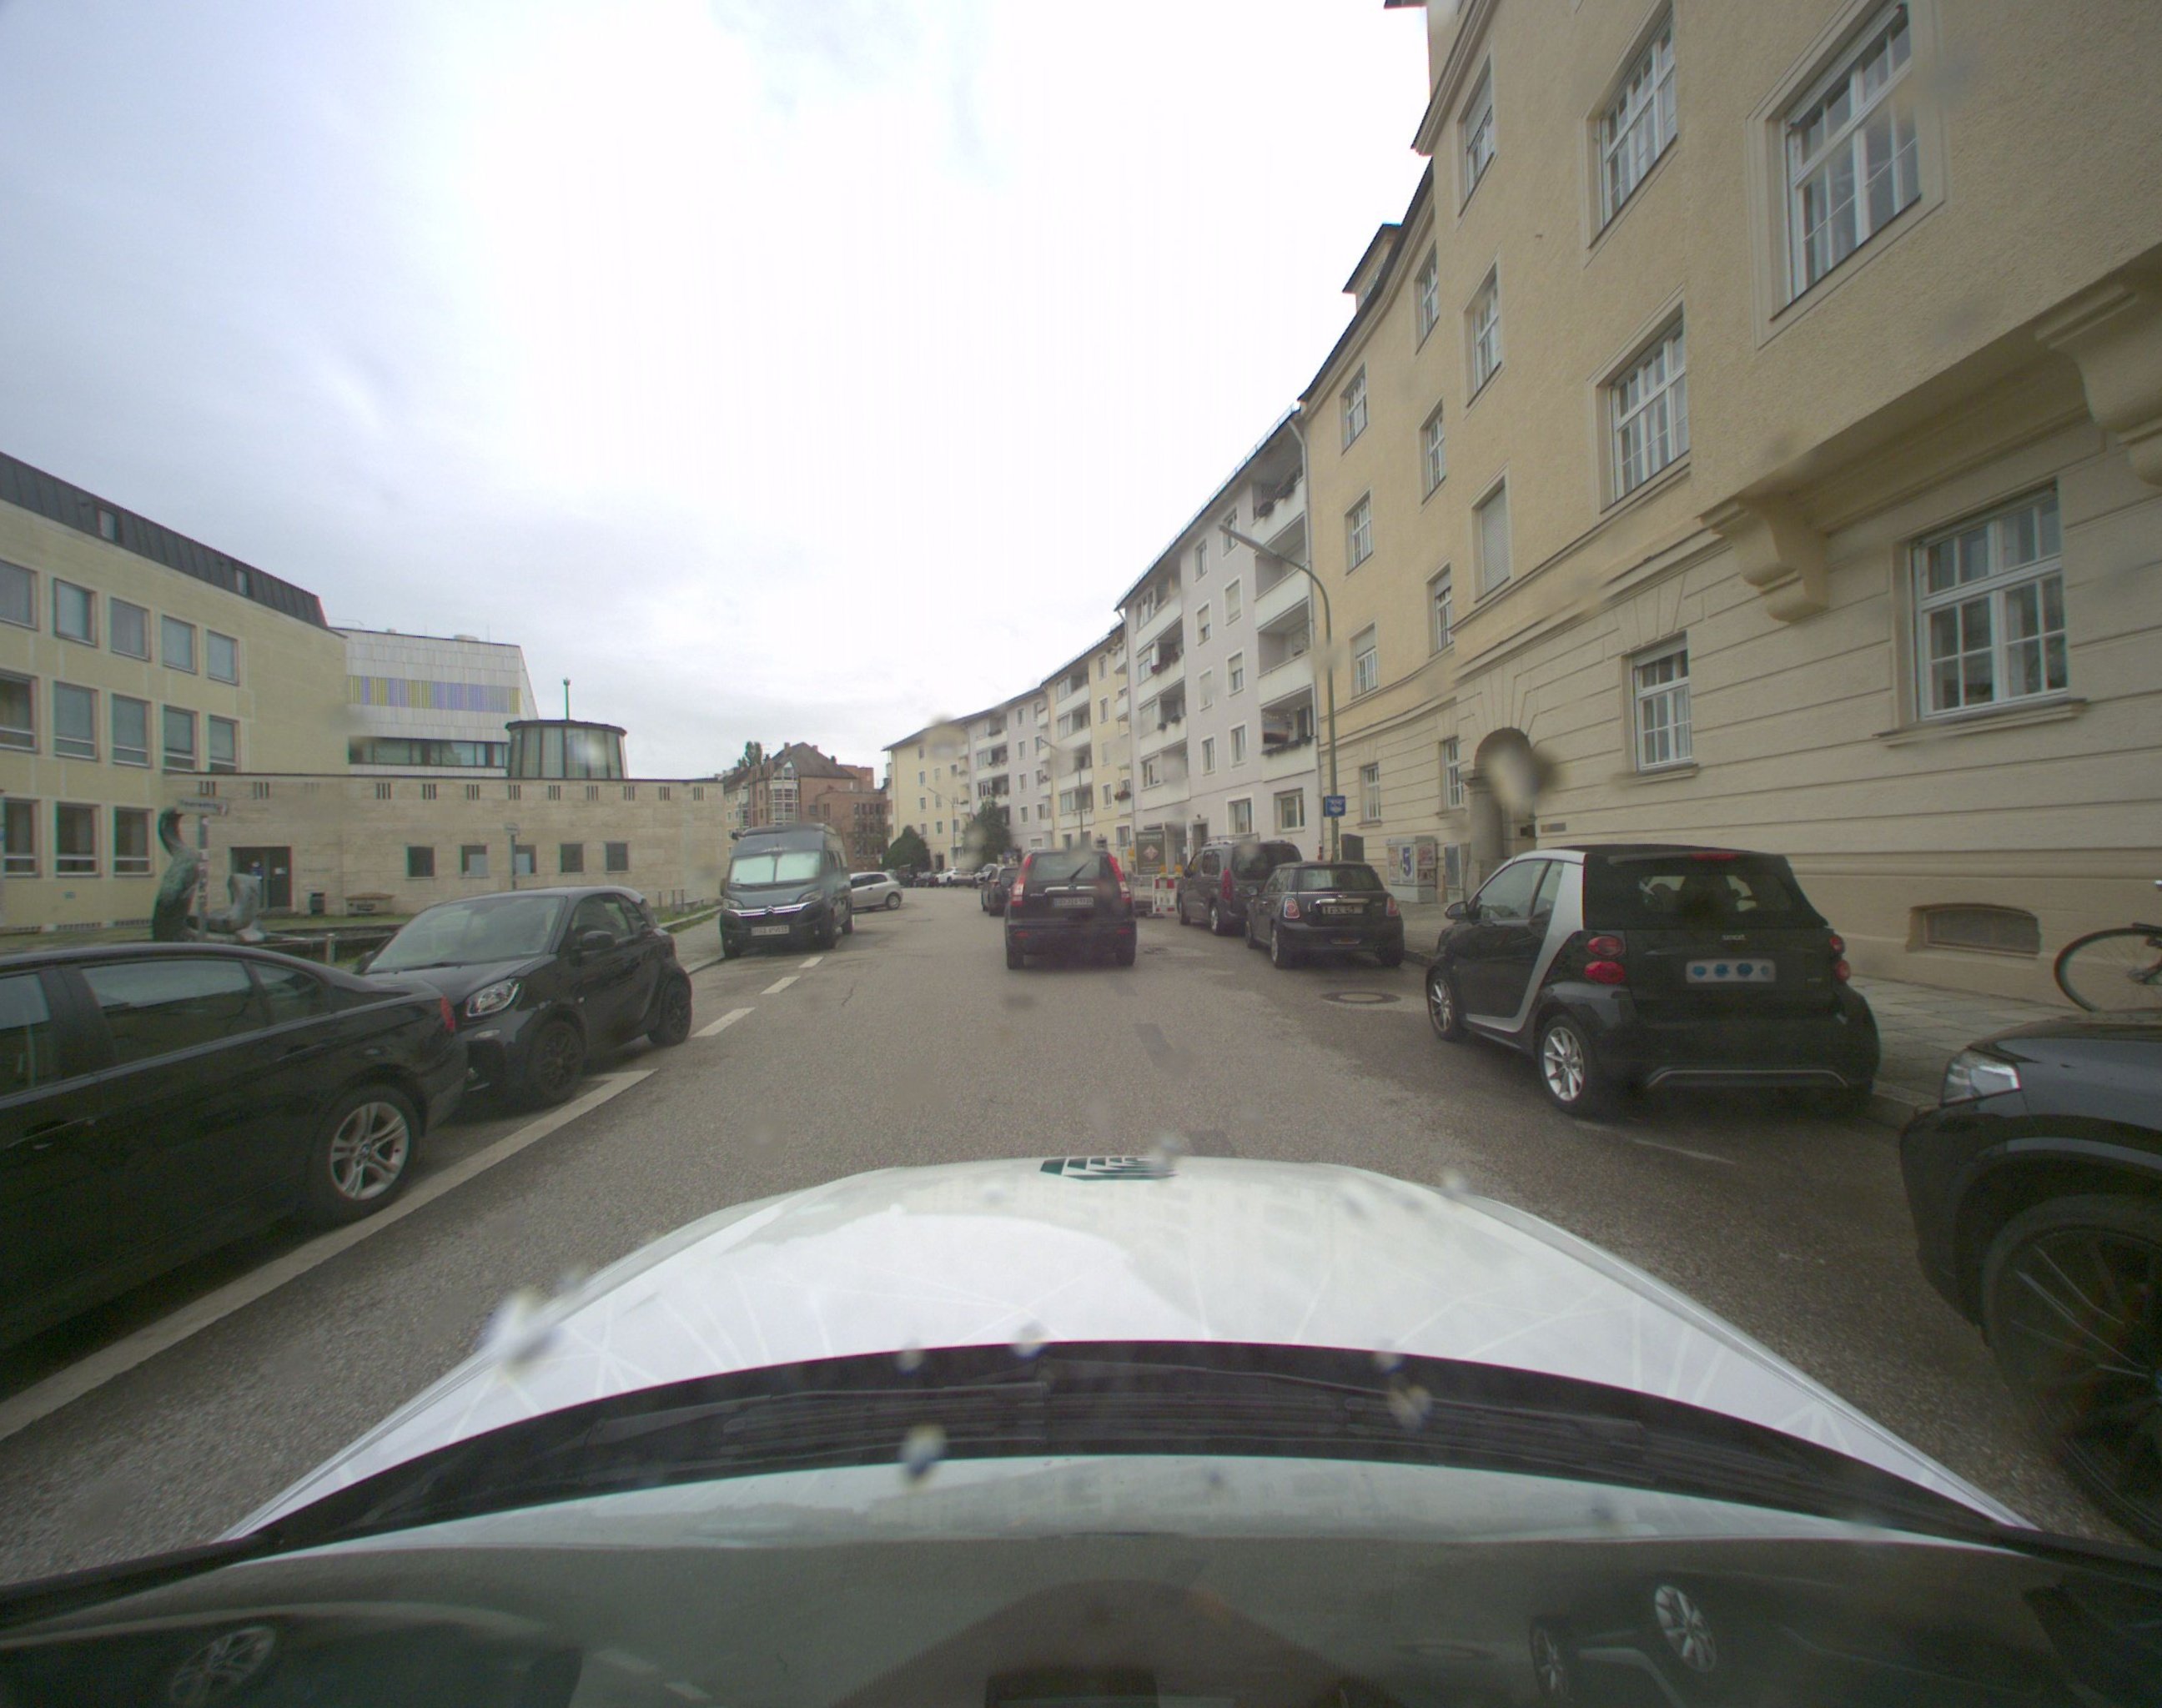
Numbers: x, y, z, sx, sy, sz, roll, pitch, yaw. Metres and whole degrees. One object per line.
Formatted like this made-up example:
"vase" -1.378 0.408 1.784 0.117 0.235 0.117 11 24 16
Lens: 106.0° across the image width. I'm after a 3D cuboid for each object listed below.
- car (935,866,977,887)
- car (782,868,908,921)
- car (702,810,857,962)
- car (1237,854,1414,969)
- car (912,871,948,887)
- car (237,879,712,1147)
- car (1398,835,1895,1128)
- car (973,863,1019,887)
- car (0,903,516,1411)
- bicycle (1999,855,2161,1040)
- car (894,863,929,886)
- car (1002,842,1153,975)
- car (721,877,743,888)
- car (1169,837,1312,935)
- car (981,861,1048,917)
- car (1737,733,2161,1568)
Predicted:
"car" -9.697 1.706 62.888 1.736 1.483 3.959 -1 -1 -32
"car" -8.640 1.470 30.047 1.663 1.481 4.113 -7 -2 41
"car" -6.263 0.598 17.741 2.166 2.641 5.992 -3 0 -12
"car" 3.462 0.748 12.252 1.701 1.447 3.833 -1 -1 3
"car" -12.459 2.041 67.143 1.709 1.236 3.565 -1 -1 -32
"car" -4.490 1.034 6.630 1.667 1.502 2.973 -4 0 -4
"car" 3.565 0.686 5.837 1.528 1.524 3.113 -1 -1 3
"car" -5.679 1.399 54.020 1.733 1.483 3.966 -1 -1 -26
"car" -4.195 1.031 2.614 1.795 1.406 4.449 -4 0 -4
"bicycle" 6.793 0.566 4.776 0.577 1.083 1.954 -5 0 2
"car" -14.823 1.768 71.013 1.736 1.878 3.959 -1 -1 -32
"car" -0.185 0.719 12.452 1.887 1.647 3.984 -2 -1 -4
"car" -50.059 4.058 116.736 1.823 1.472 4.068 -1 -1 -41
"car" 3.193 0.611 17.225 1.775 1.807 4.266 0 -1 -6
"car" -2.067 0.979 24.360 1.679 1.481 4.073 -2 -1 -9
"car" 3.091 0.590 0.333 1.861 1.717 4.868 -1 -1 2
